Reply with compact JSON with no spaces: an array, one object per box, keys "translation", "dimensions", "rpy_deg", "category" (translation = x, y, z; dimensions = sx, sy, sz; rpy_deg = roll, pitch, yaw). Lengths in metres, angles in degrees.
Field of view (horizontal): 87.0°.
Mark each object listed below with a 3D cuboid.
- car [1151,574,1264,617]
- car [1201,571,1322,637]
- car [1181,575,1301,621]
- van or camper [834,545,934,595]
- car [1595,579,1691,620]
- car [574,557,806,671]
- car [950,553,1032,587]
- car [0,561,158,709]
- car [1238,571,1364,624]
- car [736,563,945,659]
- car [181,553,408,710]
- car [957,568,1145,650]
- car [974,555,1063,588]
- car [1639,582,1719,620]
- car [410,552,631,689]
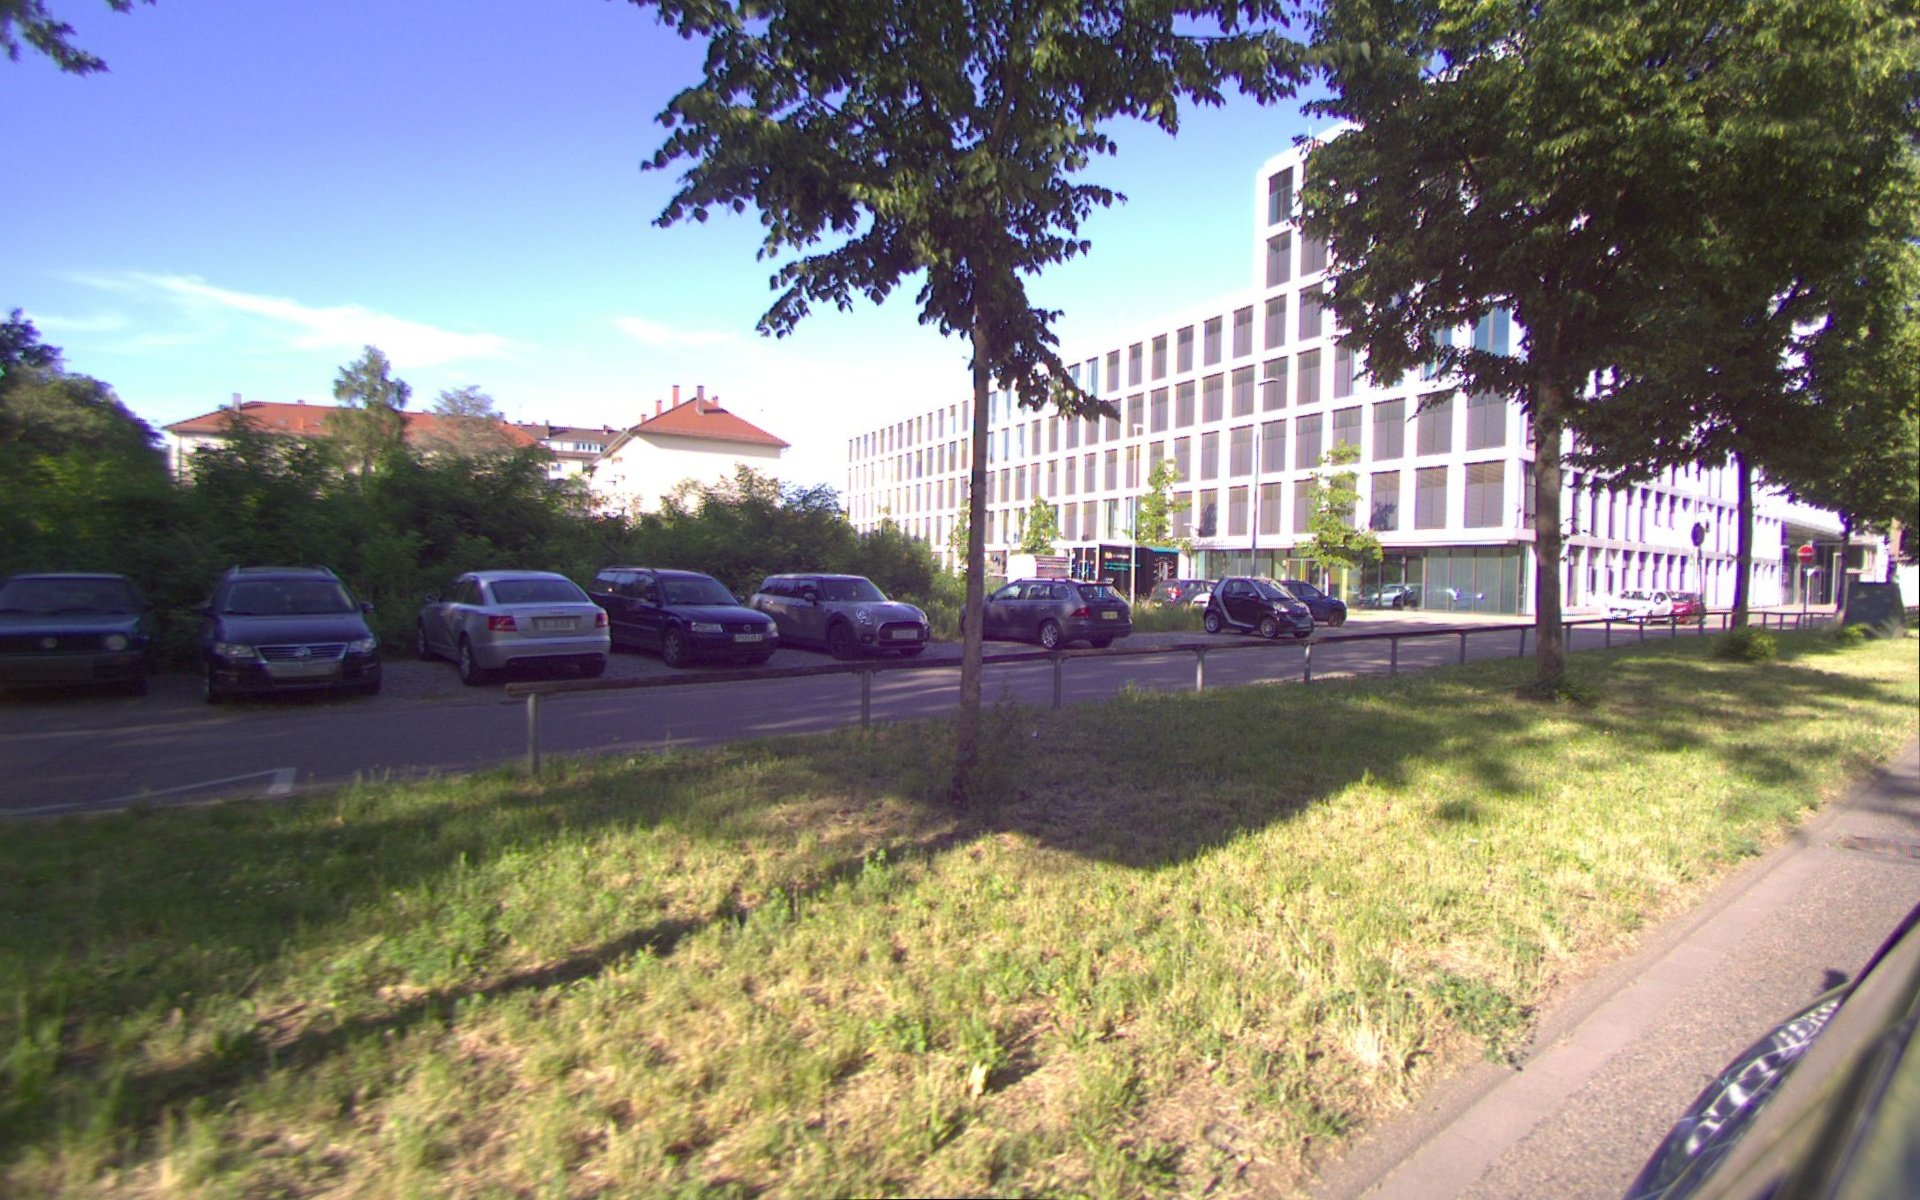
[{"translation":[9.326,-0.195,38.132],"dimensions":[3.868,1.559,1.726],"rpy_deg":[-1,0,-22],"category":"car"},{"translation":[7.872,0.048,26.573],"dimensions":[1.433,1.568,2.779],"rpy_deg":[-1,3,-31],"category":"car"},{"translation":[9.978,-0.096,35.979],"dimensions":[3.800,1.555,1.755],"rpy_deg":[-1,0,-22],"category":"car"},{"translation":[-4.598,-1.799,61.660],"dimensions":[5.732,2.928,2.002],"rpy_deg":[-1,0,-28],"category":"van or camper"},{"translation":[28.615,-0.045,42.364],"dimensions":[4.321,1.503,2.000],"rpy_deg":[-1,5,-38],"category":"car"},{"translation":[-4.607,0.144,16.890],"dimensions":[1.875,1.496,4.335],"rpy_deg":[1,3,-43],"category":"car"},{"translation":[1.666,-1.612,54.879],"dimensions":[3.917,1.638,2.003],"rpy_deg":[2,-1,-25],"category":"car"},{"translation":[-10.835,0.305,12.306],"dimensions":[1.590,1.409,4.000],"rpy_deg":[0,4,-37],"category":"car"},{"translation":[11.308,-0.076,33.596],"dimensions":[3.739,1.565,1.602],"rpy_deg":[2,1,-21],"category":"car"},{"translation":[-2.334,0.111,18.880],"dimensions":[1.752,1.517,4.197],"rpy_deg":[0,3,-42],"category":"car"},{"translation":[-8.748,0.241,13.098],"dimensions":[1.964,1.422,4.733],"rpy_deg":[0,5,-39],"category":"car"},{"translation":[1.884,0.123,21.998],"dimensions":[1.685,1.485,4.091],"rpy_deg":[-1,4,-39],"category":"car"},{"translation":[3.037,-1.466,52.227],"dimensions":[4.184,1.492,1.836],"rpy_deg":[2,0,-25],"category":"car"},{"translation":[32.099,0.014,45.123],"dimensions":[4.197,1.503,1.869],"rpy_deg":[-1,5,-40],"category":"car"},{"translation":[-6.568,0.168,14.826],"dimensions":[1.963,1.427,4.397],"rpy_deg":[0,6,-37],"category":"car"}]
